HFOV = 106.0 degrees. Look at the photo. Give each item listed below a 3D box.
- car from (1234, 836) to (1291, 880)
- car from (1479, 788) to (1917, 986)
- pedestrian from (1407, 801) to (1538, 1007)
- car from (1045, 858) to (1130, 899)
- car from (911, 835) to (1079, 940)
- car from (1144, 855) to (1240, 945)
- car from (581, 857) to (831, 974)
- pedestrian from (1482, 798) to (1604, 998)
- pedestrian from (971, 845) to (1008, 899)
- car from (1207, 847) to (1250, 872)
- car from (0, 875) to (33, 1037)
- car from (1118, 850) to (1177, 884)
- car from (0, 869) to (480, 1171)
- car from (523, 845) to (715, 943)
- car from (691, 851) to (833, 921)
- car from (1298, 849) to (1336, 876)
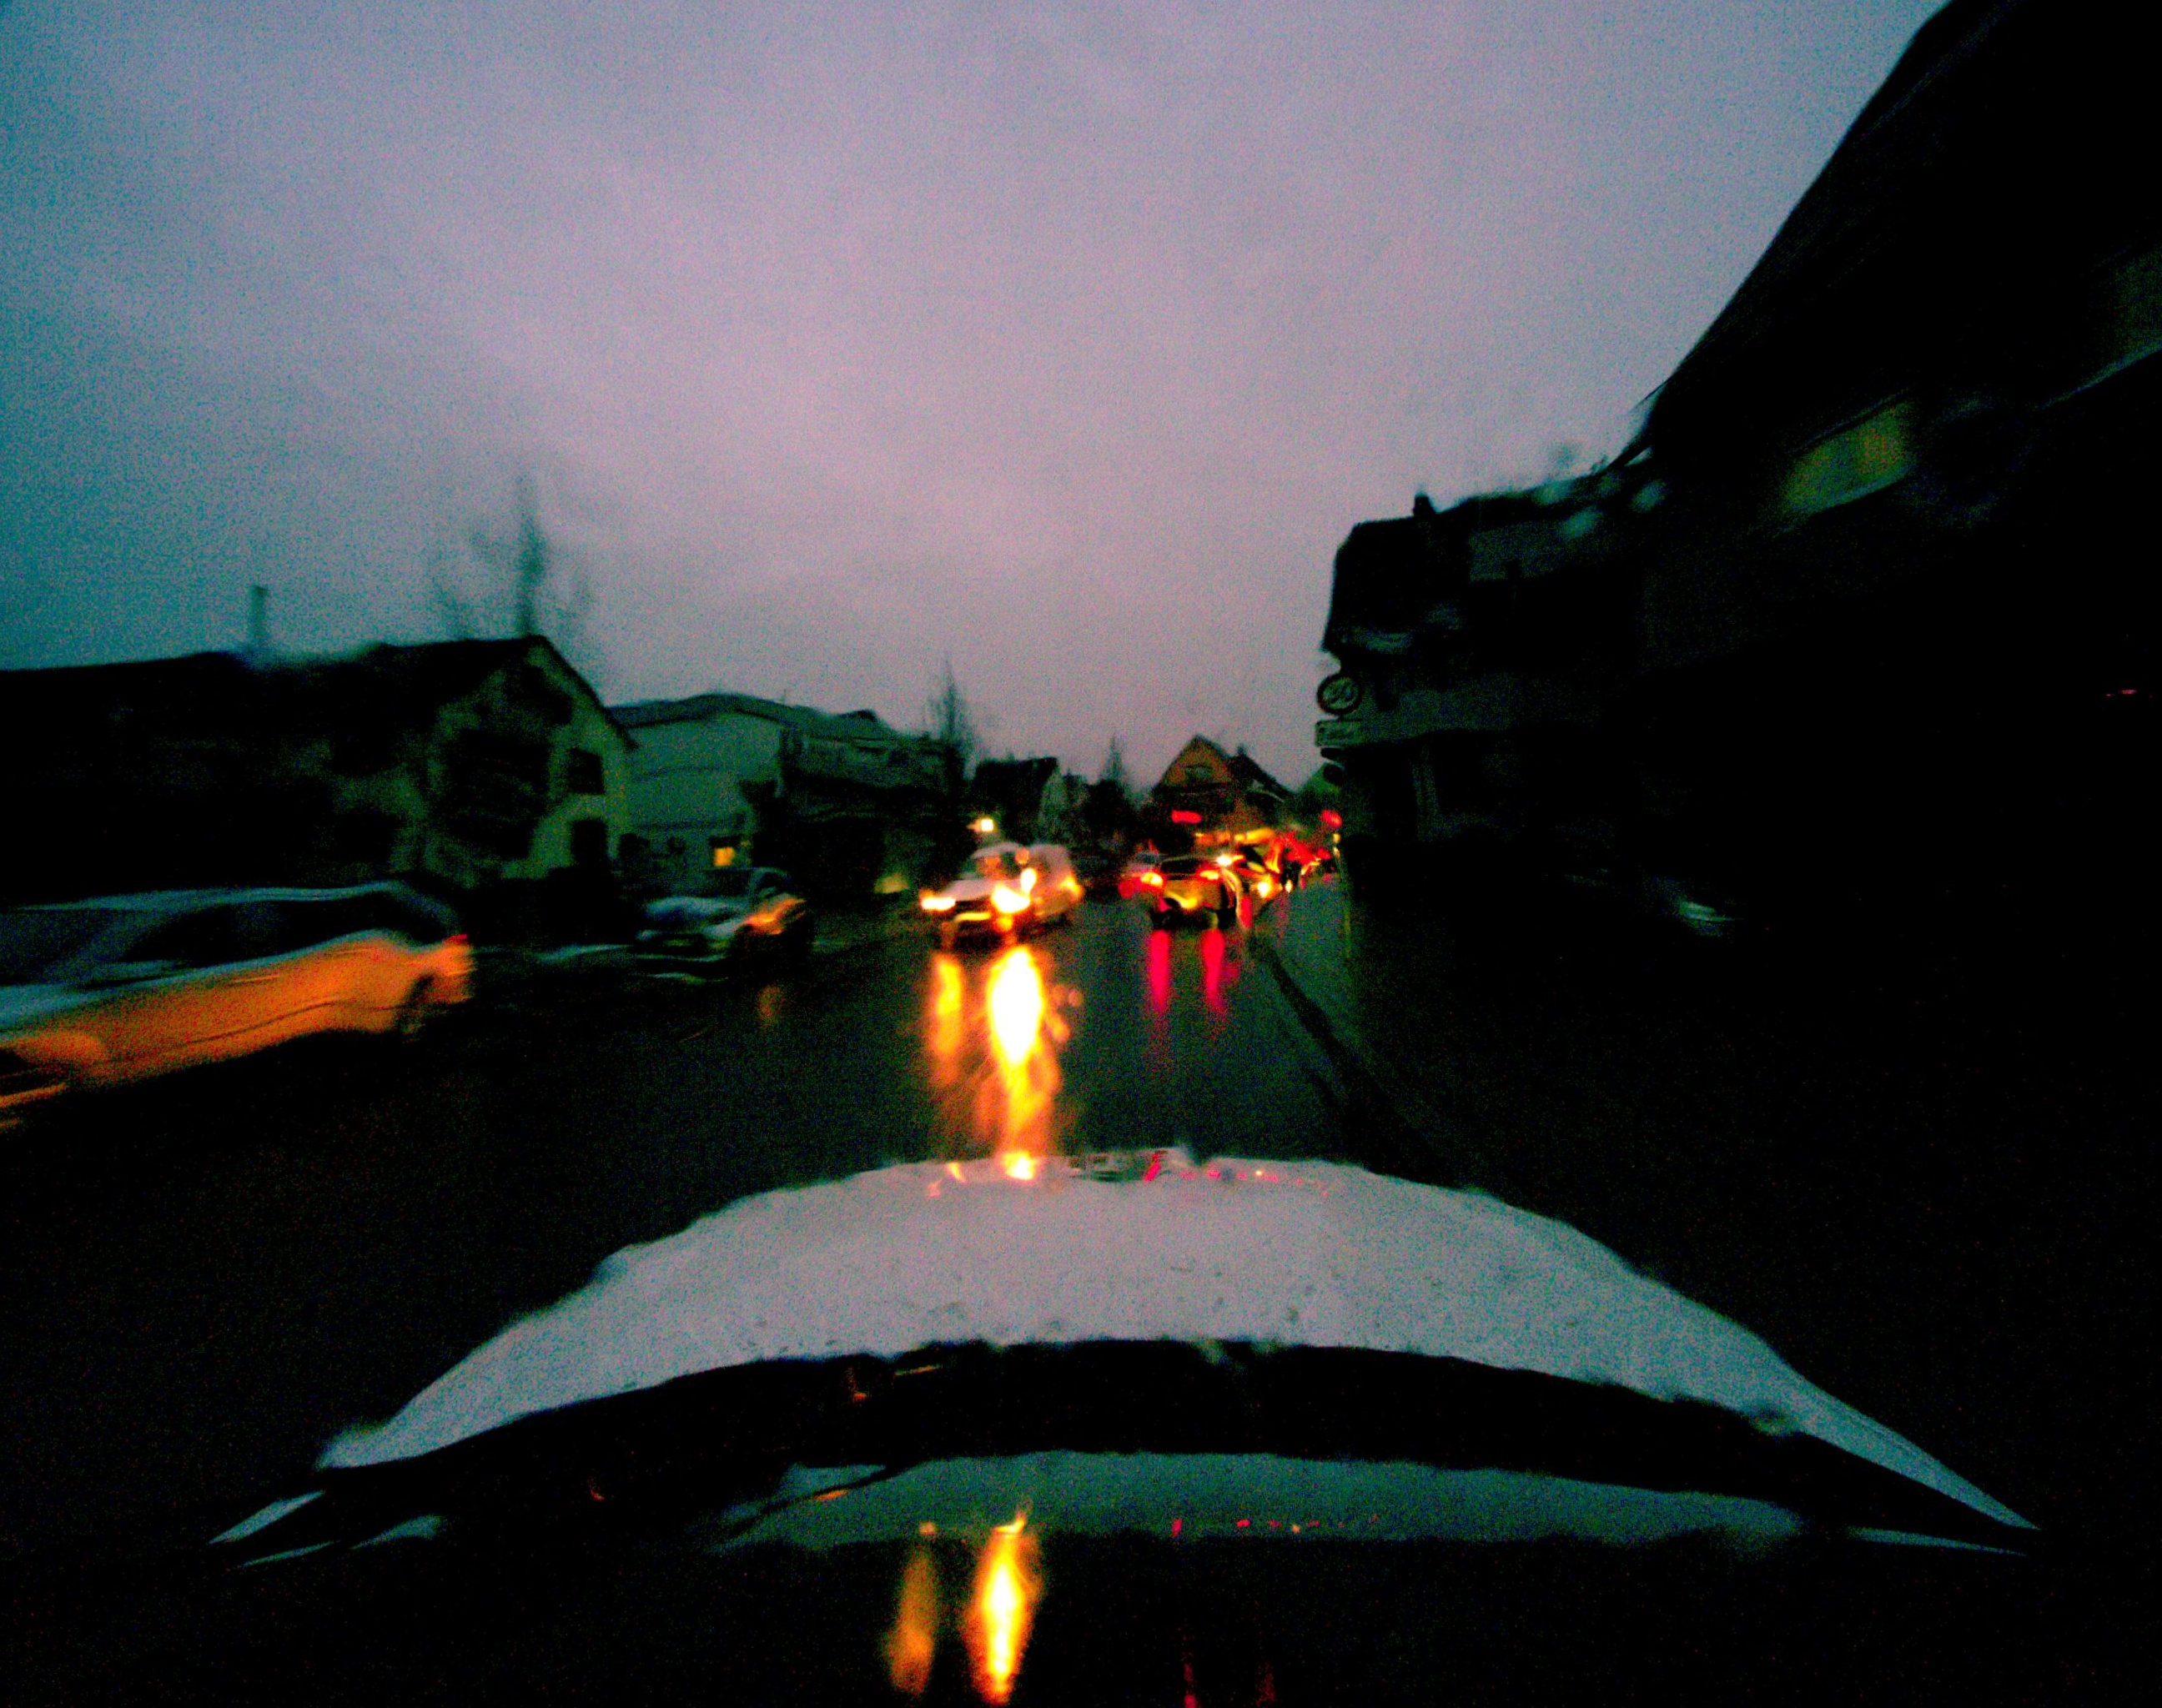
[{"bbox_3d":[7.412,0.149,32.943,1.783,1.662,4.019,-1,0,19],"label":"car"},{"bbox_3d":[6.104,0.275,8.689,1.730,1.561,3.659,-3,0,-3],"label":"car"},{"bbox_3d":[3.456,0.419,7.262,0.710,1.699,0.804,-3,0,2],"label":"pedestrian"},{"bbox_3d":[0.364,0.934,32.739,1.731,1.472,4.484,-1,0,24],"label":"car"},{"bbox_3d":[-1.555,0.592,16.934,1.933,1.750,4.867,-4,0,12],"label":"car"},{"bbox_3d":[2.729,1.004,19.890,1.982,1.795,4.659,-3,0,8],"label":"car"},{"bbox_3d":[-5.695,0.860,12.934,1.822,1.535,3.685,-2,0,9],"label":"car"},{"bbox_3d":[4.113,0.376,7.304,0.577,1.669,0.792,-3,0,1],"label":"pedestrian"},{"bbox_3d":[-3.239,0.628,28.821,0.747,1.866,1.067,-3,0,26],"label":"pedestrian"},{"bbox_3d":[9.419,0.340,51.940,1.654,1.516,4.024,0,1,26],"label":"car"},{"bbox_3d":[-12.689,1.135,8.587,4.060,1.582,1.732,-4,-1,34],"label":"car"},{"bbox_3d":[3.274,0.608,39.448,1.677,1.516,3.794,-1,0,23],"label":"car"},{"bbox_3d":[-6.763,0.954,5.723,1.899,1.533,4.254,-2,0,-1],"label":"car"},{"bbox_3d":[-10.714,0.912,18.689,5.328,1.885,2.087,-4,0,41],"label":"car"},{"bbox_3d":[-9.748,0.970,24.962,3.681,1.903,1.768,-3,0,18],"label":"car"},{"bbox_3d":[13.438,0.466,46.301,1.635,1.442,3.887,-3,-1,22],"label":"car"}]
